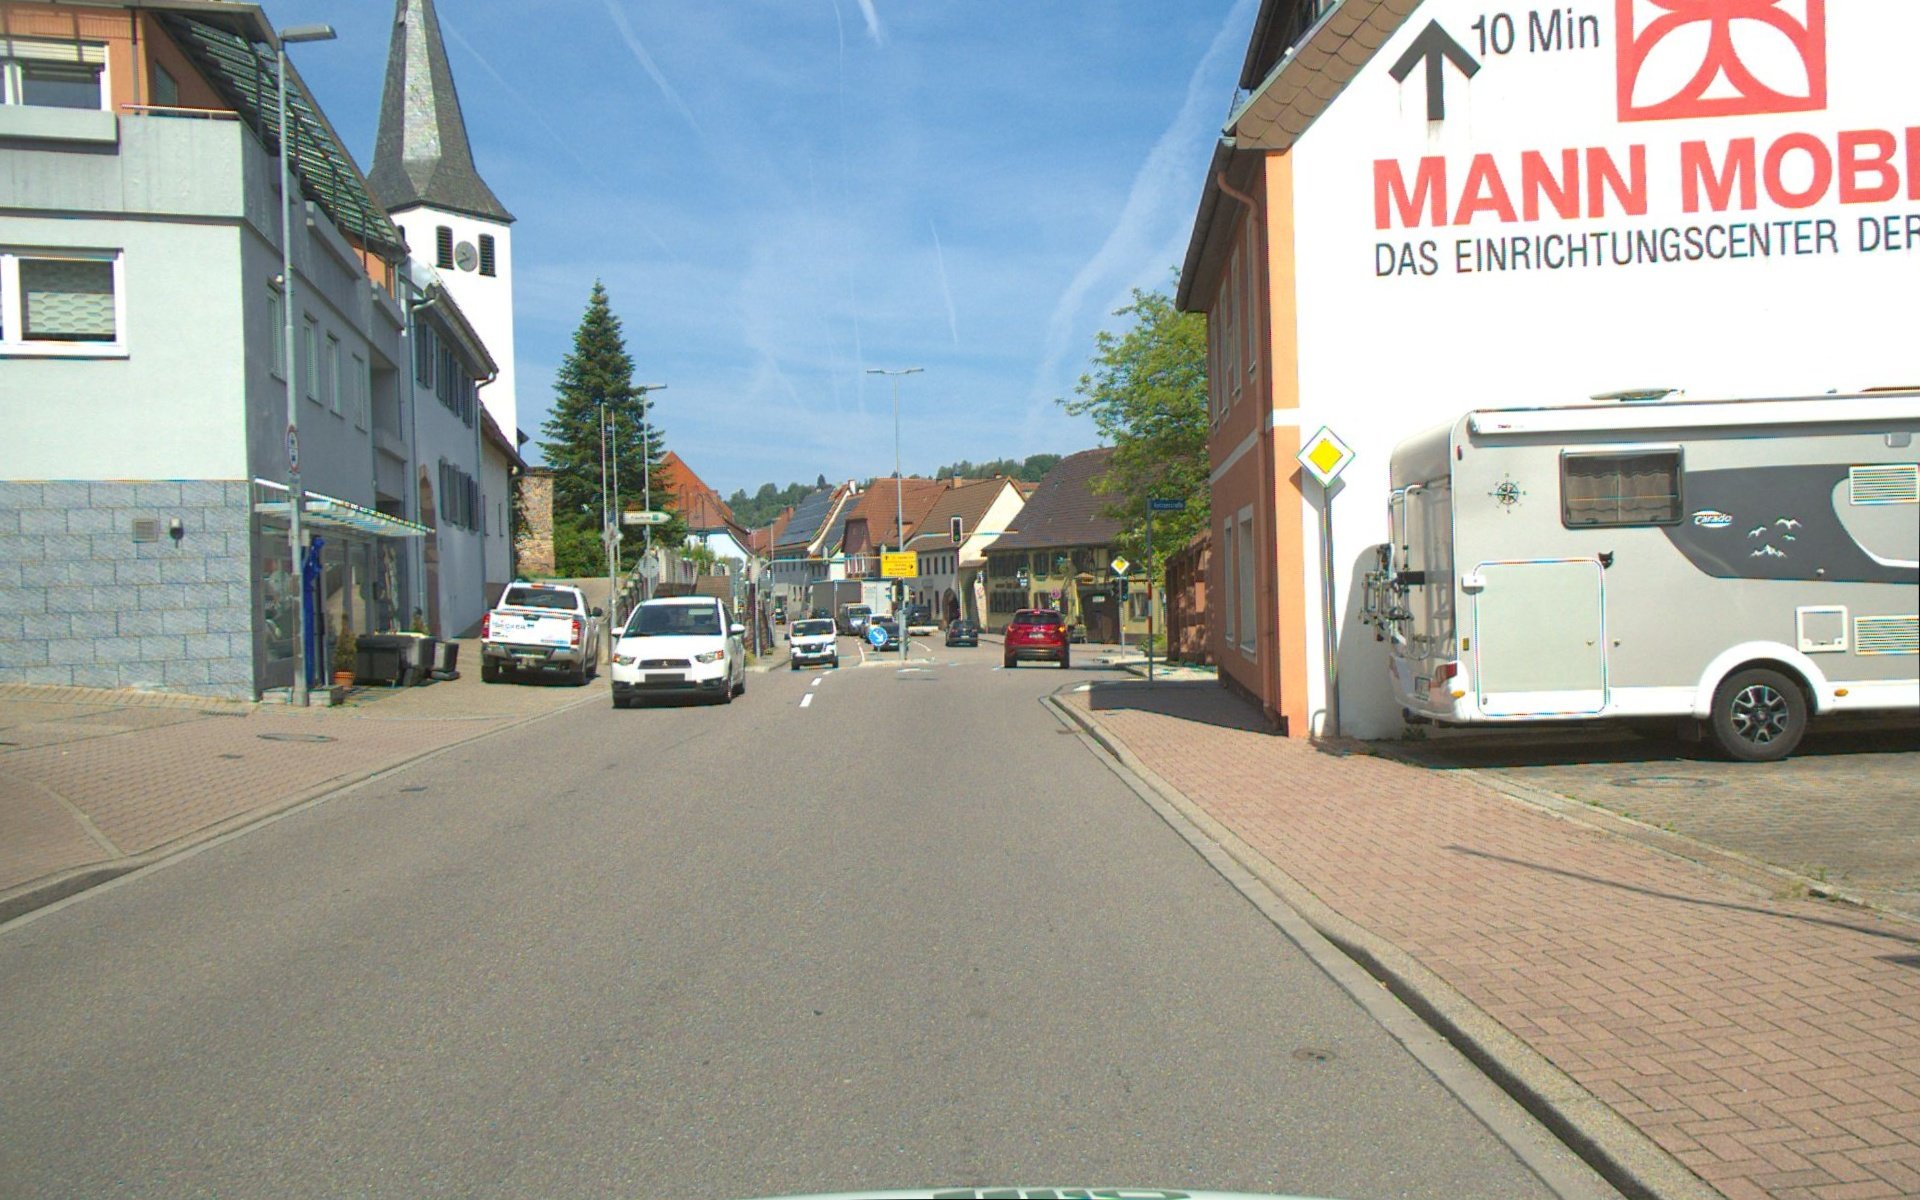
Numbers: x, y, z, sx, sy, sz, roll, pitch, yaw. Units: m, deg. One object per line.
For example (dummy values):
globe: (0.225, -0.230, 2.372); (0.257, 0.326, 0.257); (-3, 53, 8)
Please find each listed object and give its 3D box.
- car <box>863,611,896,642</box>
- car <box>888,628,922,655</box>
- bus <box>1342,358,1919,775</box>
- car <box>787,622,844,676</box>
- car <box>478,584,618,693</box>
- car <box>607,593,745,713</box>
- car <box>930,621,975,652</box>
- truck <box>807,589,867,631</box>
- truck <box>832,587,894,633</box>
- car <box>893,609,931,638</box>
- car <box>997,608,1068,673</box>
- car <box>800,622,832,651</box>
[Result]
car: (-5.419, 1.733, 110.912); (1.786, 1.939, 4.955); (-1, 0, -8)
car: (-3.241, 2.402, 97.498); (1.783, 1.459, 4.249); (-1, 0, 1)
bus: (6.651, -0.300, 13.577); (6.429, 2.956, 2.230); (-3, -1, 2)
car: (-5.718, 1.915, 65.940); (1.929, 1.966, 5.311); (-2, 0, -2)
car: (-7.682, 0.672, 31.298); (1.770, 1.829, 5.279); (2, 0, -6)
car: (-4.112, 0.713, 24.443); (1.696, 1.569, 3.807); (-2, 0, -6)
car: (-0.481, 2.229, 102.875); (1.791, 1.769, 3.988); (-2, 0, -15)
truck: (-10.972, 0.944, 146.743); (3.109, 3.521, 10.662); (1, -1, -16)
truck: (-8.119, 0.819, 137.205); (3.171, 3.611, 9.188); (1, -1, -16)
car: (-3.544, 1.721, 121.624); (1.818, 2.049, 3.980); (1, -1, -18)
car: (2.125, 1.123, 47.416); (1.766, 1.692, 3.815); (-2, 0, 6)
car: (-11.993, 3.014, 137.496); (1.730, 2.285, 4.530); (1, -1, -18)
